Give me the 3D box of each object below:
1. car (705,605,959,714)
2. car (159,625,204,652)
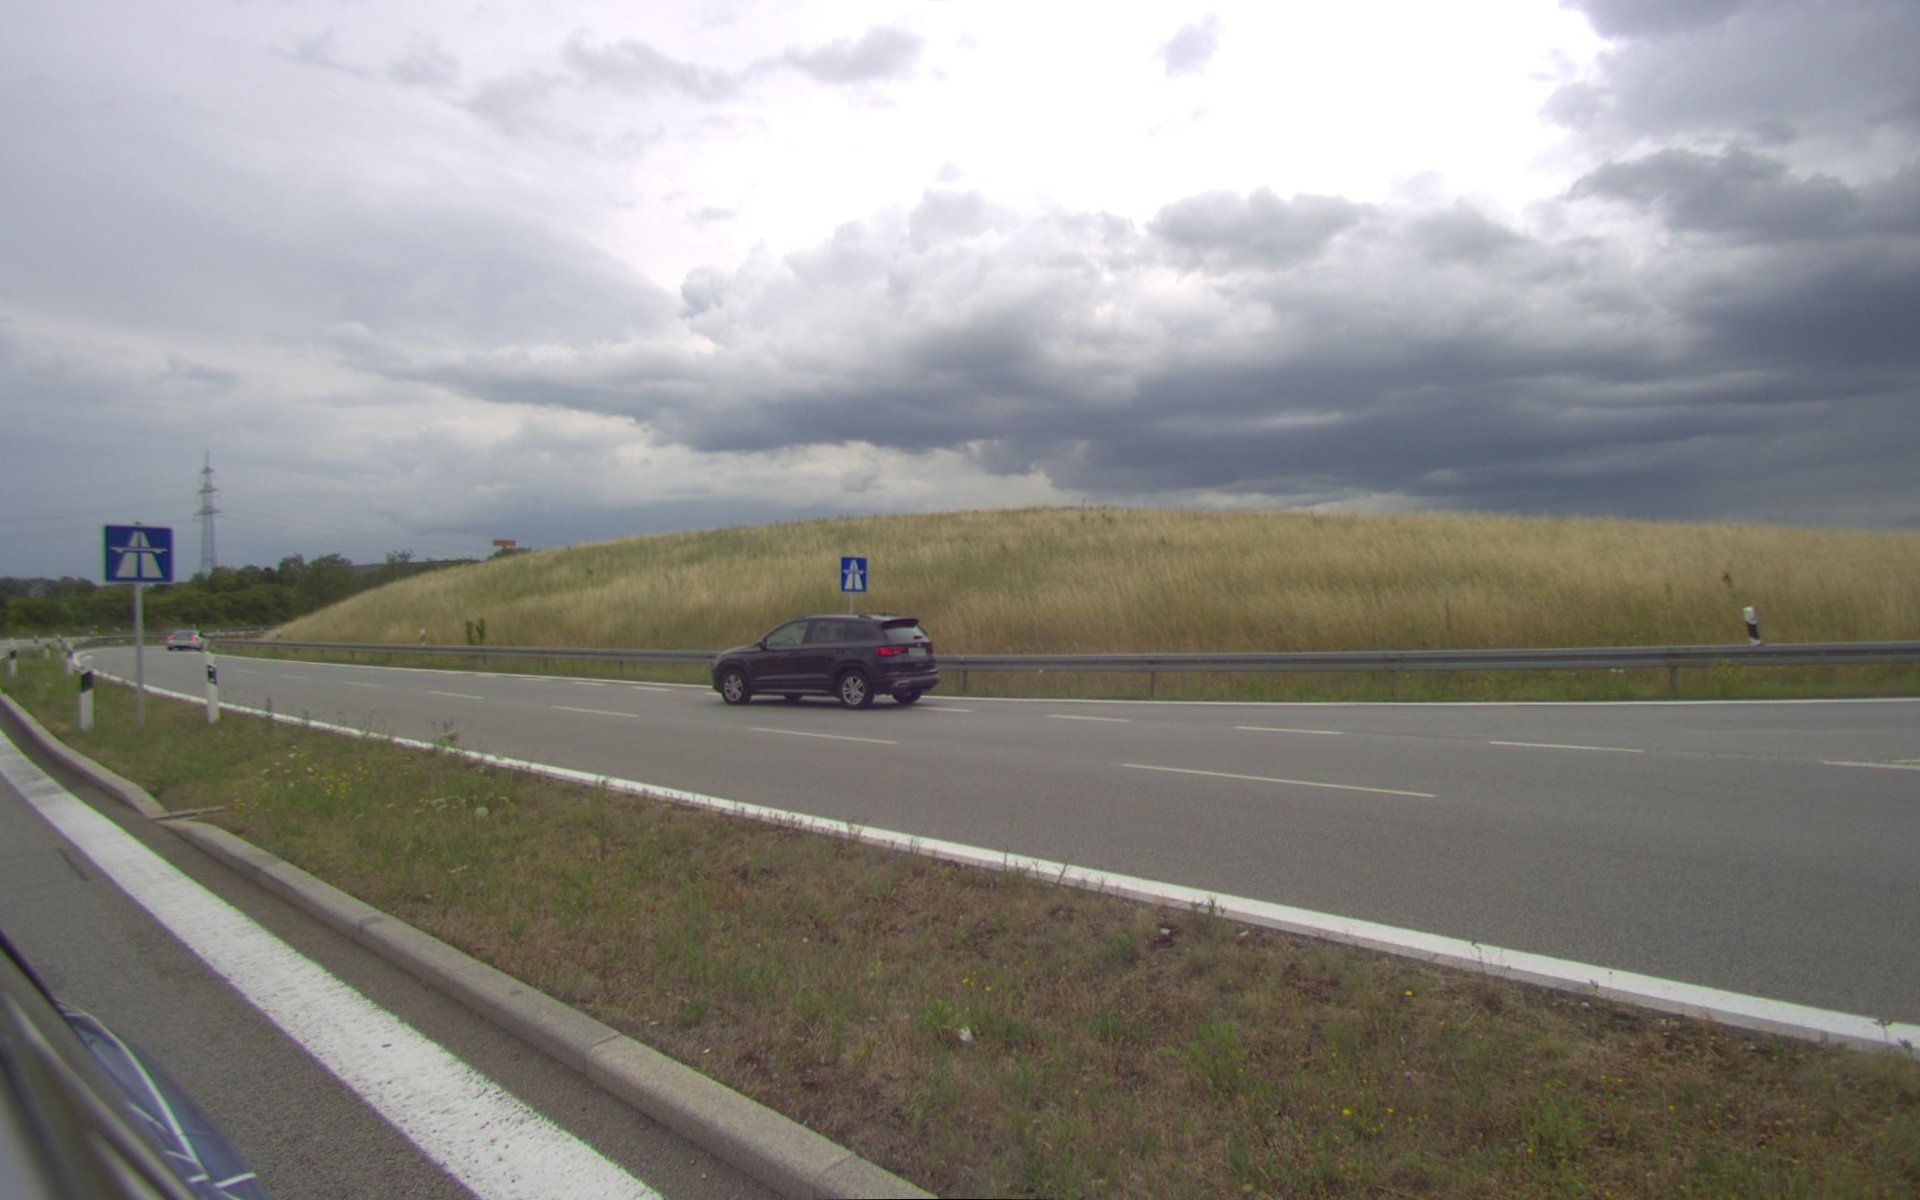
[{"bbox_3d":[-2.270,0.957,17.783,4.097,1.696,1.980,-1,0,30],"label":"car"},{"bbox_3d":[-54.314,2.639,70.671,1.966,1.696,4.126,-1,0,-31],"label":"car"}]
